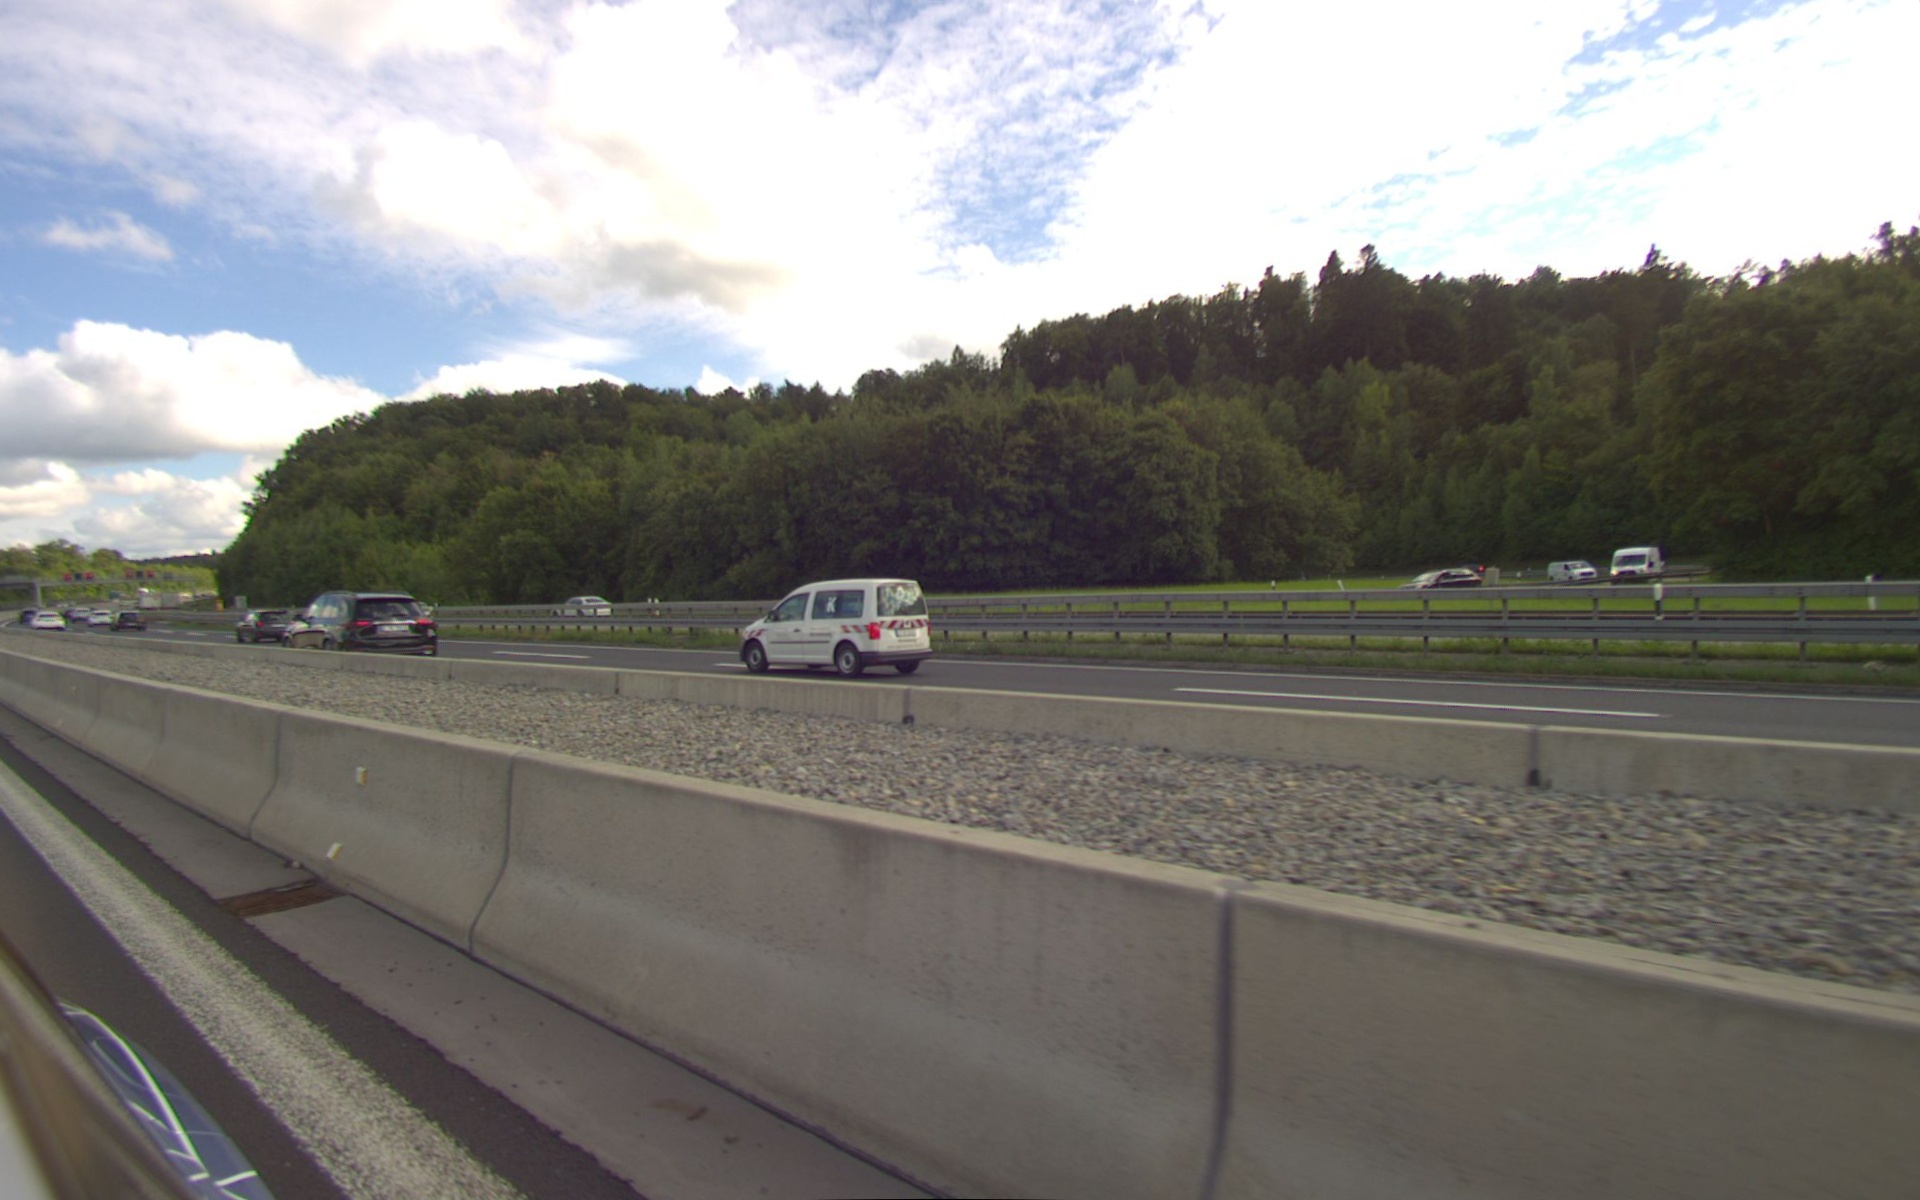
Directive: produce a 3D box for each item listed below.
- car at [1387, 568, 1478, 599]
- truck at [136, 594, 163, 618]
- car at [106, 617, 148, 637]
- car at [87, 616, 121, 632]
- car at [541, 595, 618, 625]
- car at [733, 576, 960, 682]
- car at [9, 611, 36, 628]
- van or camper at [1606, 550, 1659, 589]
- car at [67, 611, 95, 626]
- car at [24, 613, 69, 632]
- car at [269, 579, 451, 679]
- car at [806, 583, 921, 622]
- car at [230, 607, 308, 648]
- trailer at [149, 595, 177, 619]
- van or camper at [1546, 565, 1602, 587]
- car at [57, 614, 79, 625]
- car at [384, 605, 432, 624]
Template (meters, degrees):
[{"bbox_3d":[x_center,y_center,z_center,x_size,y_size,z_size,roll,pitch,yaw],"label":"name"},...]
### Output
[{"bbox_3d":[23.923,-0.834,51.238,4.230,1.461,1.737,-2,1,-22],"label":"car"},{"bbox_3d":[-144.626,1.059,180.579,2.868,3.998,10.473,-1,1,-44],"label":"truck"},{"bbox_3d":[-60.730,1.971,73.759,4.229,1.347,1.848,-1,0,43],"label":"car"},{"bbox_3d":[-77.927,2.172,92.107,4.578,1.440,1.865,-1,0,44],"label":"car"},{"bbox_3d":[-23.326,0.628,61.994,5.216,1.684,1.918,-1,0,38],"label":"car"},{"bbox_3d":[-2.253,0.512,19.550,4.238,1.828,1.973,-1,0,40],"label":"car"},{"bbox_3d":[-103.973,2.127,112.256,4.953,1.798,1.865,-1,0,44],"label":"car"},{"bbox_3d":[41.701,-1.907,62.680,2.104,2.265,5.656,-1,1,40],"label":"van or camper"},{"bbox_3d":[-100.148,2.094,115.270,4.966,1.622,1.865,-1,0,43],"label":"car"},{"bbox_3d":[-69.409,1.668,76.853,5.608,1.347,2.024,-1,0,43],"label":"car"},{"bbox_3d":[-13.234,0.594,22.164,5.148,1.934,1.972,-1,0,42],"label":"car"},{"bbox_3d":[-4.828,0.136,50.817,5.204,1.784,2.386,-2,0,20],"label":"car"},{"bbox_3d":[-30.850,1.219,45.155,4.373,1.704,1.972,-1,0,43],"label":"car"},{"bbox_3d":[-151.218,1.213,191.992,3.282,4.324,12.154,-1,1,-43],"label":"trailer"},{"bbox_3d":[55.329,-2.123,91.313,1.788,1.872,5.137,-2,1,-1],"label":"van or camper"},{"bbox_3d":[-125.543,2.716,142.437,4.814,1.413,1.972,-1,0,44],"label":"car"},{"bbox_3d":[-44.080,1.176,80.746,4.620,1.442,1.765,-1,0,40],"label":"car"}]
